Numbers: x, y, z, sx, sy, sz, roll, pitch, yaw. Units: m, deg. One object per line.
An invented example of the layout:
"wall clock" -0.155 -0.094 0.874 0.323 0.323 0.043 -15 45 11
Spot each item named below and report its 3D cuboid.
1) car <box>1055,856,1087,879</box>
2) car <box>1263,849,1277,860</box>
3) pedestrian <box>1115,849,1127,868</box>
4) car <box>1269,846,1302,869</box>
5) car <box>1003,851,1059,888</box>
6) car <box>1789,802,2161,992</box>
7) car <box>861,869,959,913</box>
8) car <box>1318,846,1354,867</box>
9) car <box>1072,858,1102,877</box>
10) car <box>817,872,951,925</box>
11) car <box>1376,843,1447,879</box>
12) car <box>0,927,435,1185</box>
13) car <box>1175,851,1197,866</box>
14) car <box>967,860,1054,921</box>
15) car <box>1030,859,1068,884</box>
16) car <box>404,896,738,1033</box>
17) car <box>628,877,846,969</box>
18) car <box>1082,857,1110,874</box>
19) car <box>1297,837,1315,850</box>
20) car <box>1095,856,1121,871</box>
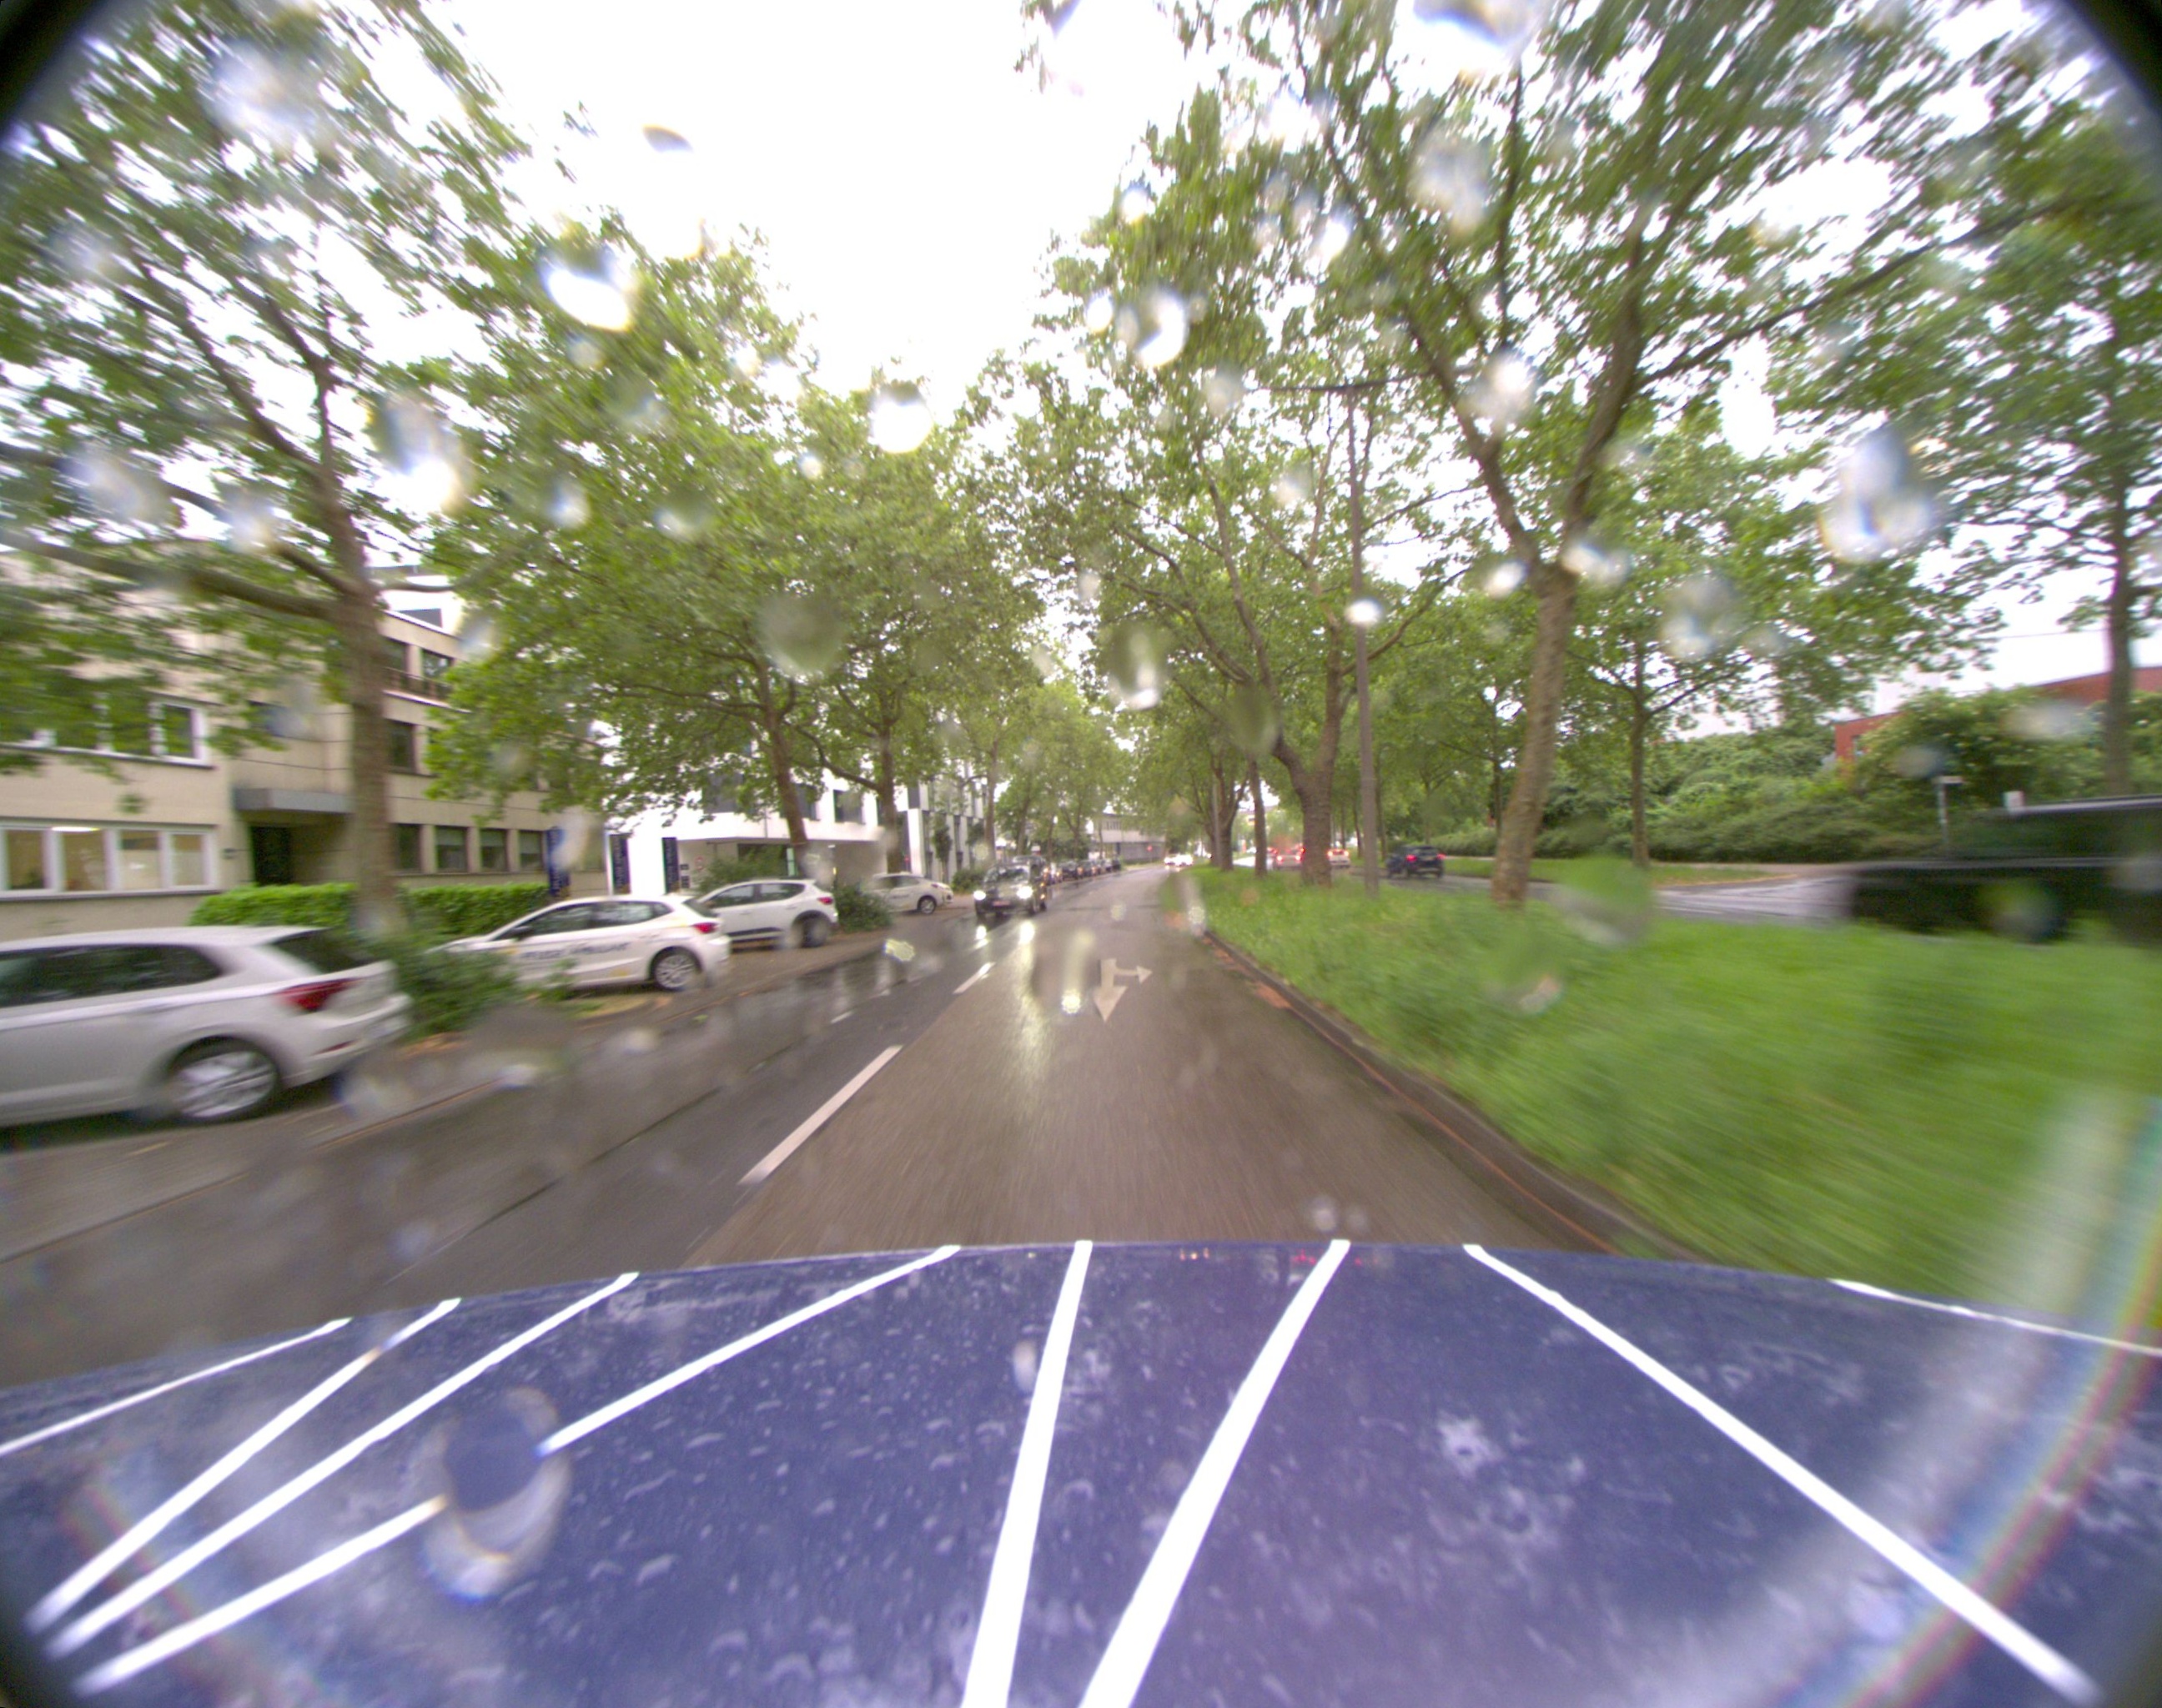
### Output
"car" -0.741 1.022 59.814 1.746 1.557 4.374 -3 0 9
"car" 27.208 0.008 109.264 1.746 1.467 4.414 -3 0 12
"pedestrian" 4.235 0.504 80.508 0.900 2.002 0.832 -3 1 -24
"car" 15.713 0.264 58.525 1.747 1.582 4.332 -3 0 7
"car" -3.015 0.885 47.197 2.125 2.016 5.531 -3 0 9
"car" 11.302 0.376 8.537 1.748 1.831 5.119 -3 0 -2
"car" -6.723 1.451 30.188 3.647 1.495 1.748 -3 -1 -10
"car" 19.466 0.183 58.218 1.747 1.467 4.084 -3 0 7
"car" 0.519 1.158 66.544 1.746 1.467 4.086 -3 0 12
"car" -6.660 1.445 25.695 4.043 1.420 1.745 -3 0 -26
"car" 16.284 0.310 37.670 1.747 1.582 4.210 -3 0 2
"car" -7.548 1.481 5.720 3.697 1.408 1.772 -3 0 -26
"car" 12.542 0.526 90.618 1.996 1.620 4.526 -4 0 16
"car" -2.161 1.099 25.008 1.998 1.585 5.590 -4 0 2
"car" -2.170 1.196 53.353 1.746 1.460 4.308 -3 0 9
"car" -7.115 1.472 11.098 3.696 1.408 1.746 -3 0 -22
"car" -7.377 1.389 16.488 4.043 1.530 1.745 -3 0 -28
"car" 1.509 1.067 72.768 1.746 1.420 5.107 -3 0 11
"car" 40.537 -1.913 136.967 2.032 2.213 5.443 -3 0 27
"car" 2.857 0.991 79.190 1.746 1.420 4.864 -1 1 15
